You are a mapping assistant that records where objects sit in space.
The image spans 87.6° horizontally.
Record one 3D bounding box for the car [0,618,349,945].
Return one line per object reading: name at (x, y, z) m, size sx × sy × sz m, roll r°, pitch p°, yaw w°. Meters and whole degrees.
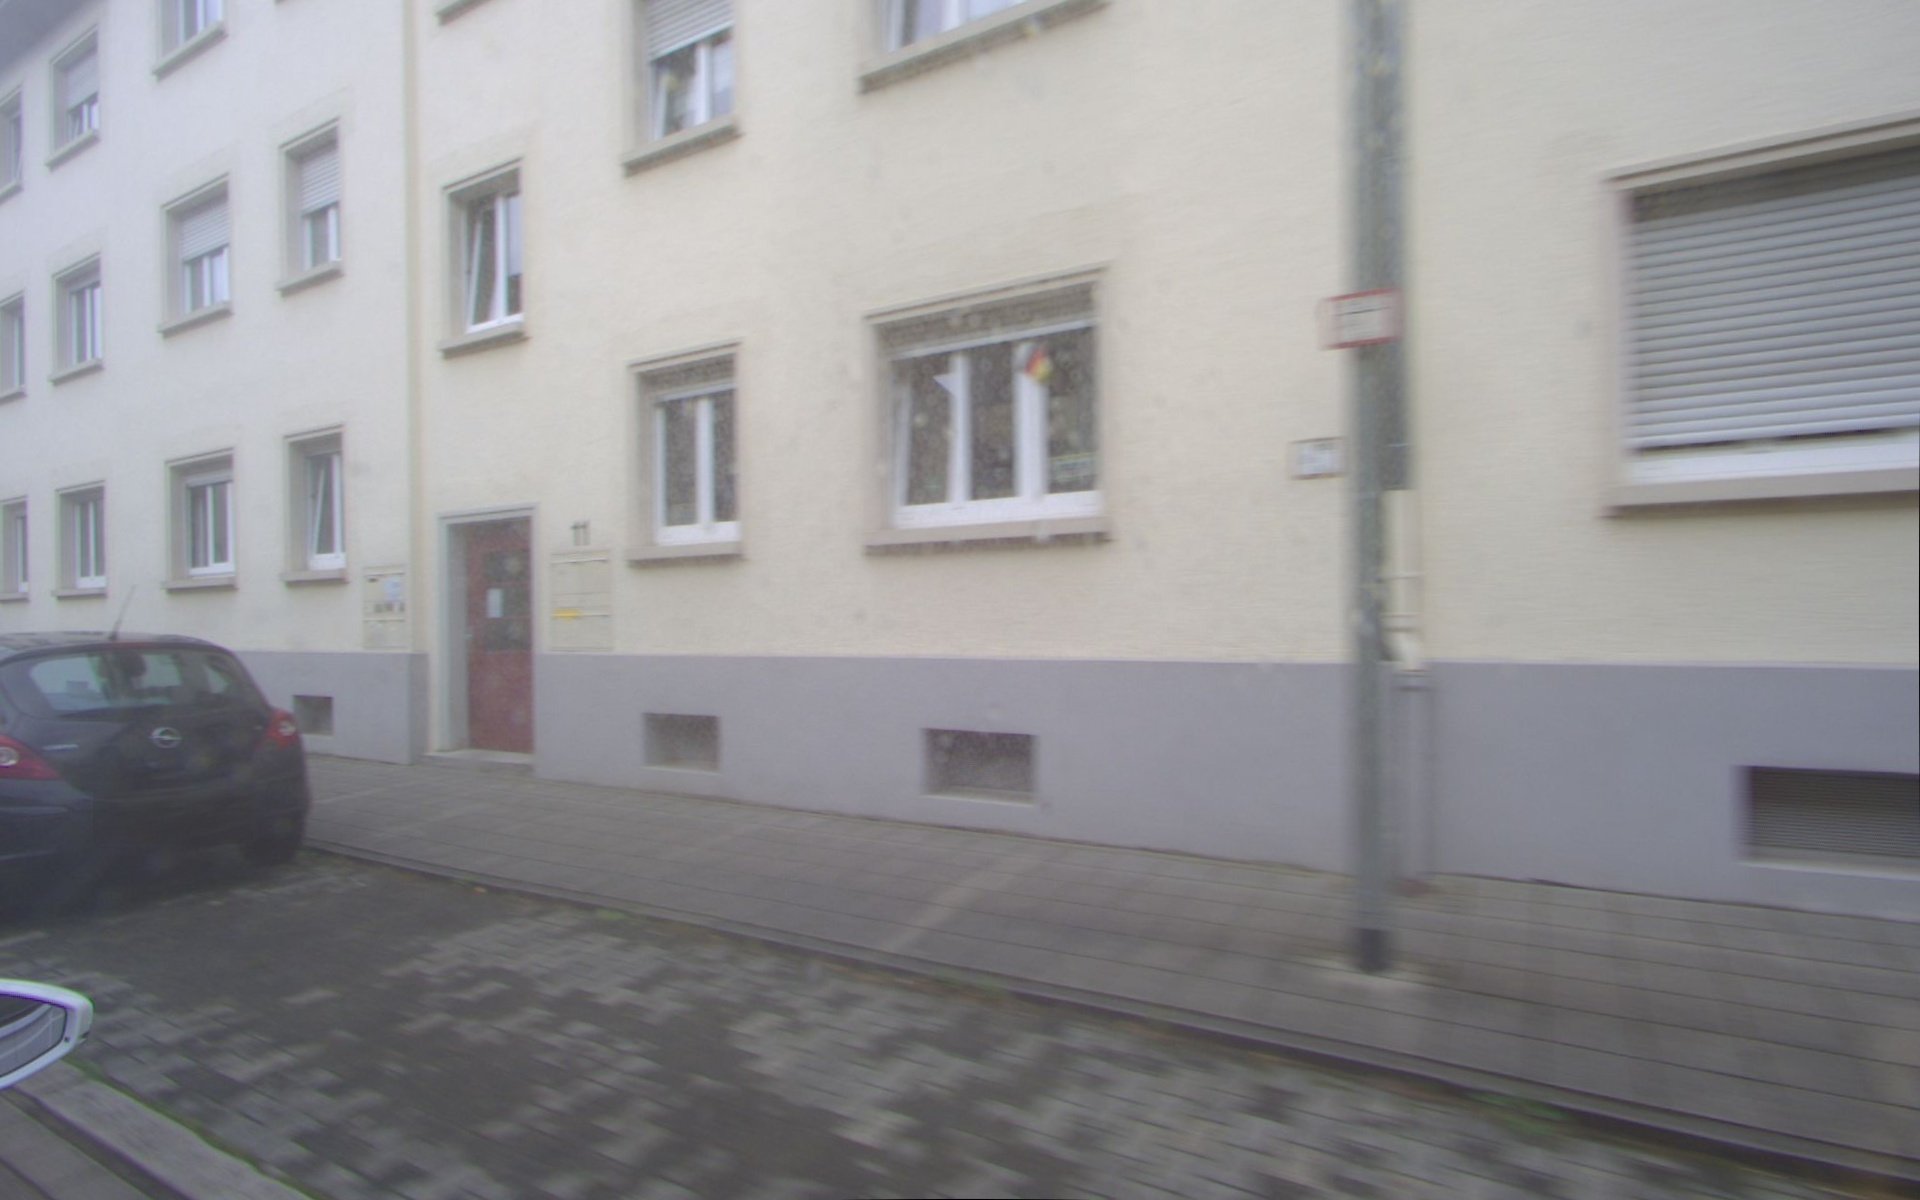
car at (-5.878, 0.906, 6.366) m, size 4.000 × 1.537 × 1.723 m, roll -1°, pitch -2°, yaw 30°
